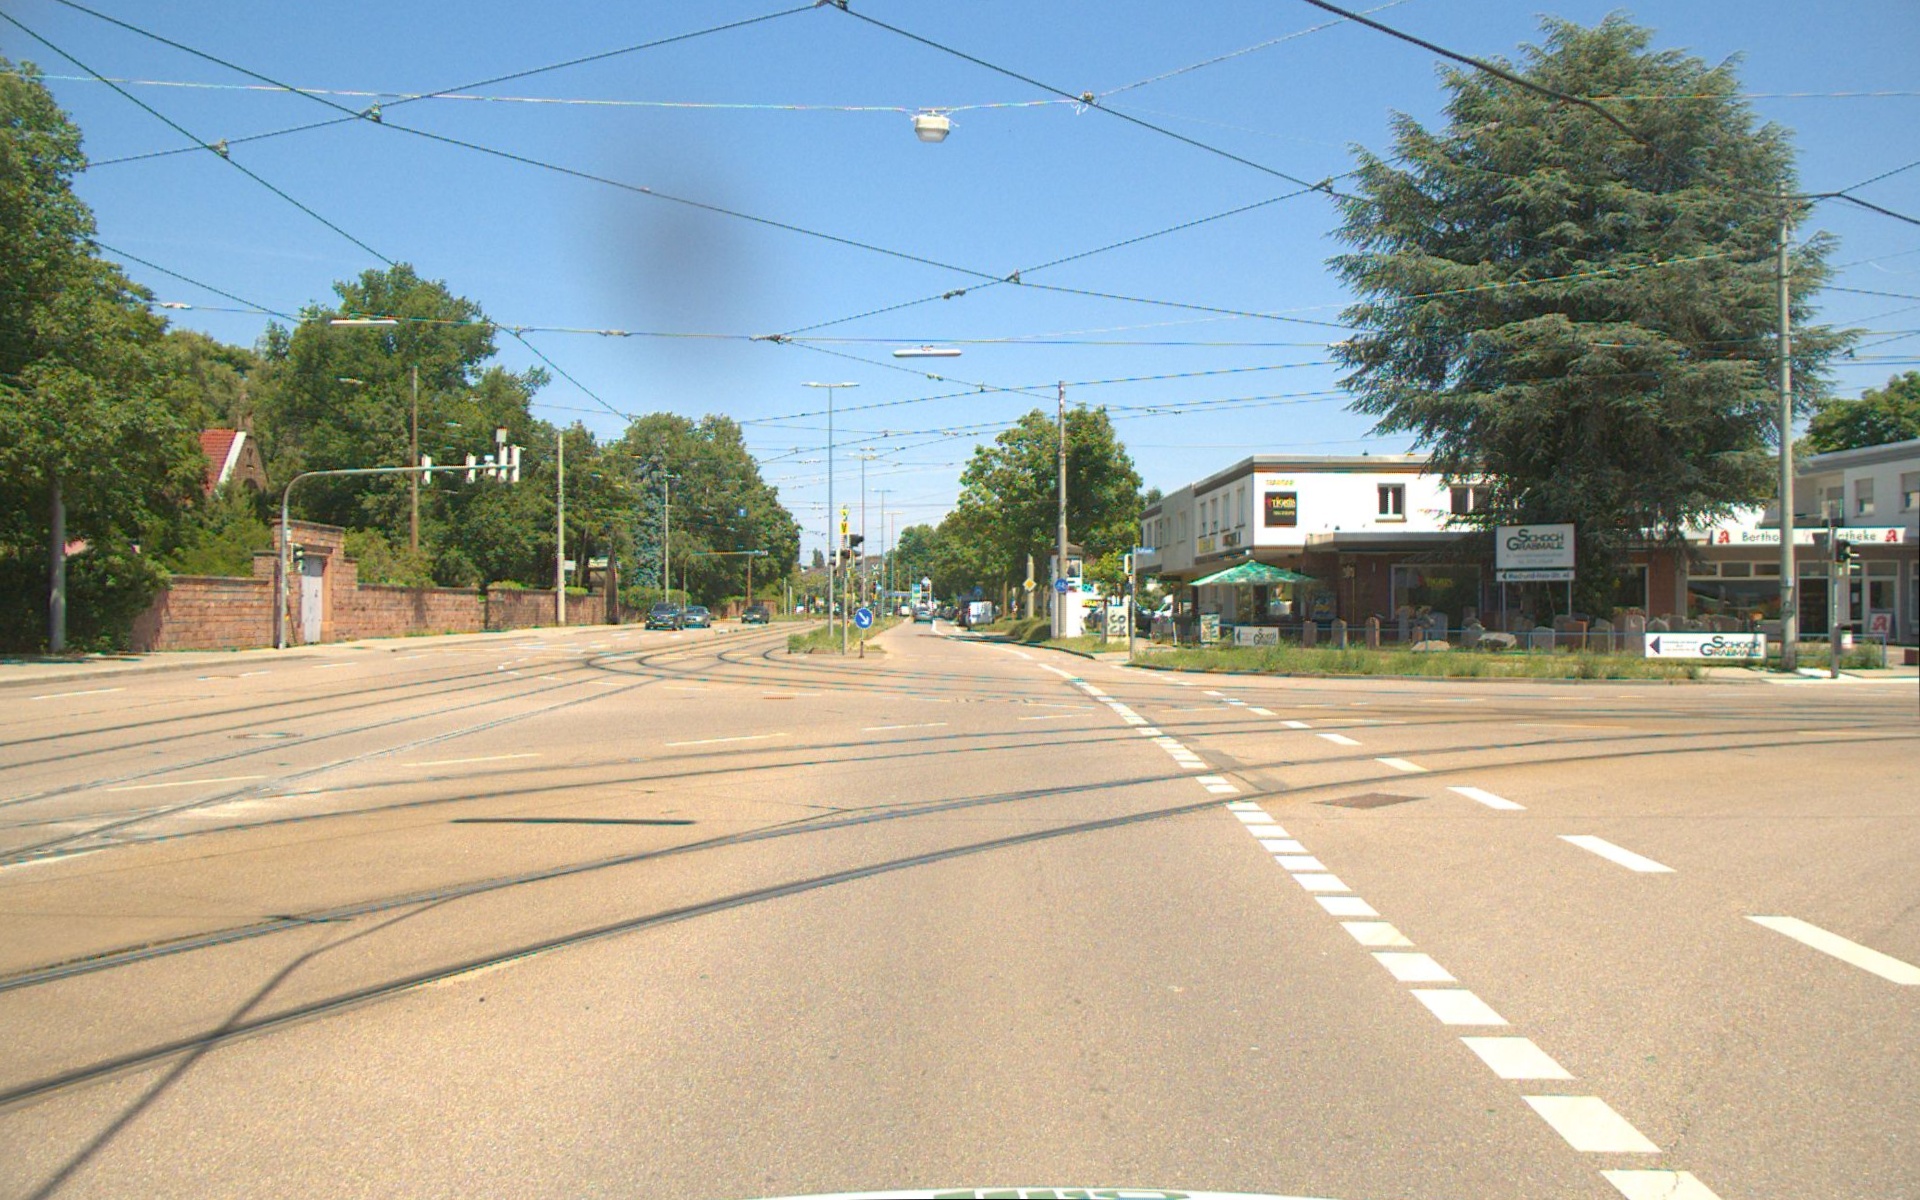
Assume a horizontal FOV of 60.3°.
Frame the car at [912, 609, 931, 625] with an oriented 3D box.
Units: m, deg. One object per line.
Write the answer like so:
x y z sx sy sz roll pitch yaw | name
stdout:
-3.454 1.539 148.466 1.604 1.375 3.839 0 0 -4 | car

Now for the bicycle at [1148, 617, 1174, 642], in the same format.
8.453 1.239 69.652 1.012 1.032 2.639 0 0 6 | bicycle

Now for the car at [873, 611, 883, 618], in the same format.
-12.759 2.190 258.142 1.462 1.064 3.578 0 0 -2 | car

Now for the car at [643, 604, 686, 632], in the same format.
-17.884 1.066 100.137 1.782 1.631 4.520 0 0 0 | car

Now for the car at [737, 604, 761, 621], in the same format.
-17.857 1.058 140.216 1.608 1.424 4.114 2 0 -2 | car

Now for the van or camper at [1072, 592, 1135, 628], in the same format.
11.154 0.778 128.866 4.661 2.718 2.134 0 -1 -3 | van or camper

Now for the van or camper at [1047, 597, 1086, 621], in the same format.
9.832 0.836 153.282 3.486 2.183 1.602 0 0 -3 | van or camper

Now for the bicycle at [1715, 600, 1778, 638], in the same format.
26.844 0.644 56.443 1.831 1.213 0.599 2 -1 10 | bicycle

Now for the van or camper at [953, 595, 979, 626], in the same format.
0.486 0.885 138.153 1.954 2.507 3.997 0 0 -4 | van or camper

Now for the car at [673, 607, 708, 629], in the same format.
-18.325 1.233 112.557 1.607 1.446 4.168 0 0 1 | car

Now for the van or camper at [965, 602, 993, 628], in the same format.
1.289 1.024 115.799 1.883 1.803 3.999 0 0 -1 | van or camper

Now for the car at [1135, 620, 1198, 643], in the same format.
12.499 1.880 100.188 3.539 1.375 1.488 0 0 -8 | car

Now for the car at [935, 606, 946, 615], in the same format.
-2.983 1.644 250.742 1.493 1.319 3.490 0 0 -4 | car
